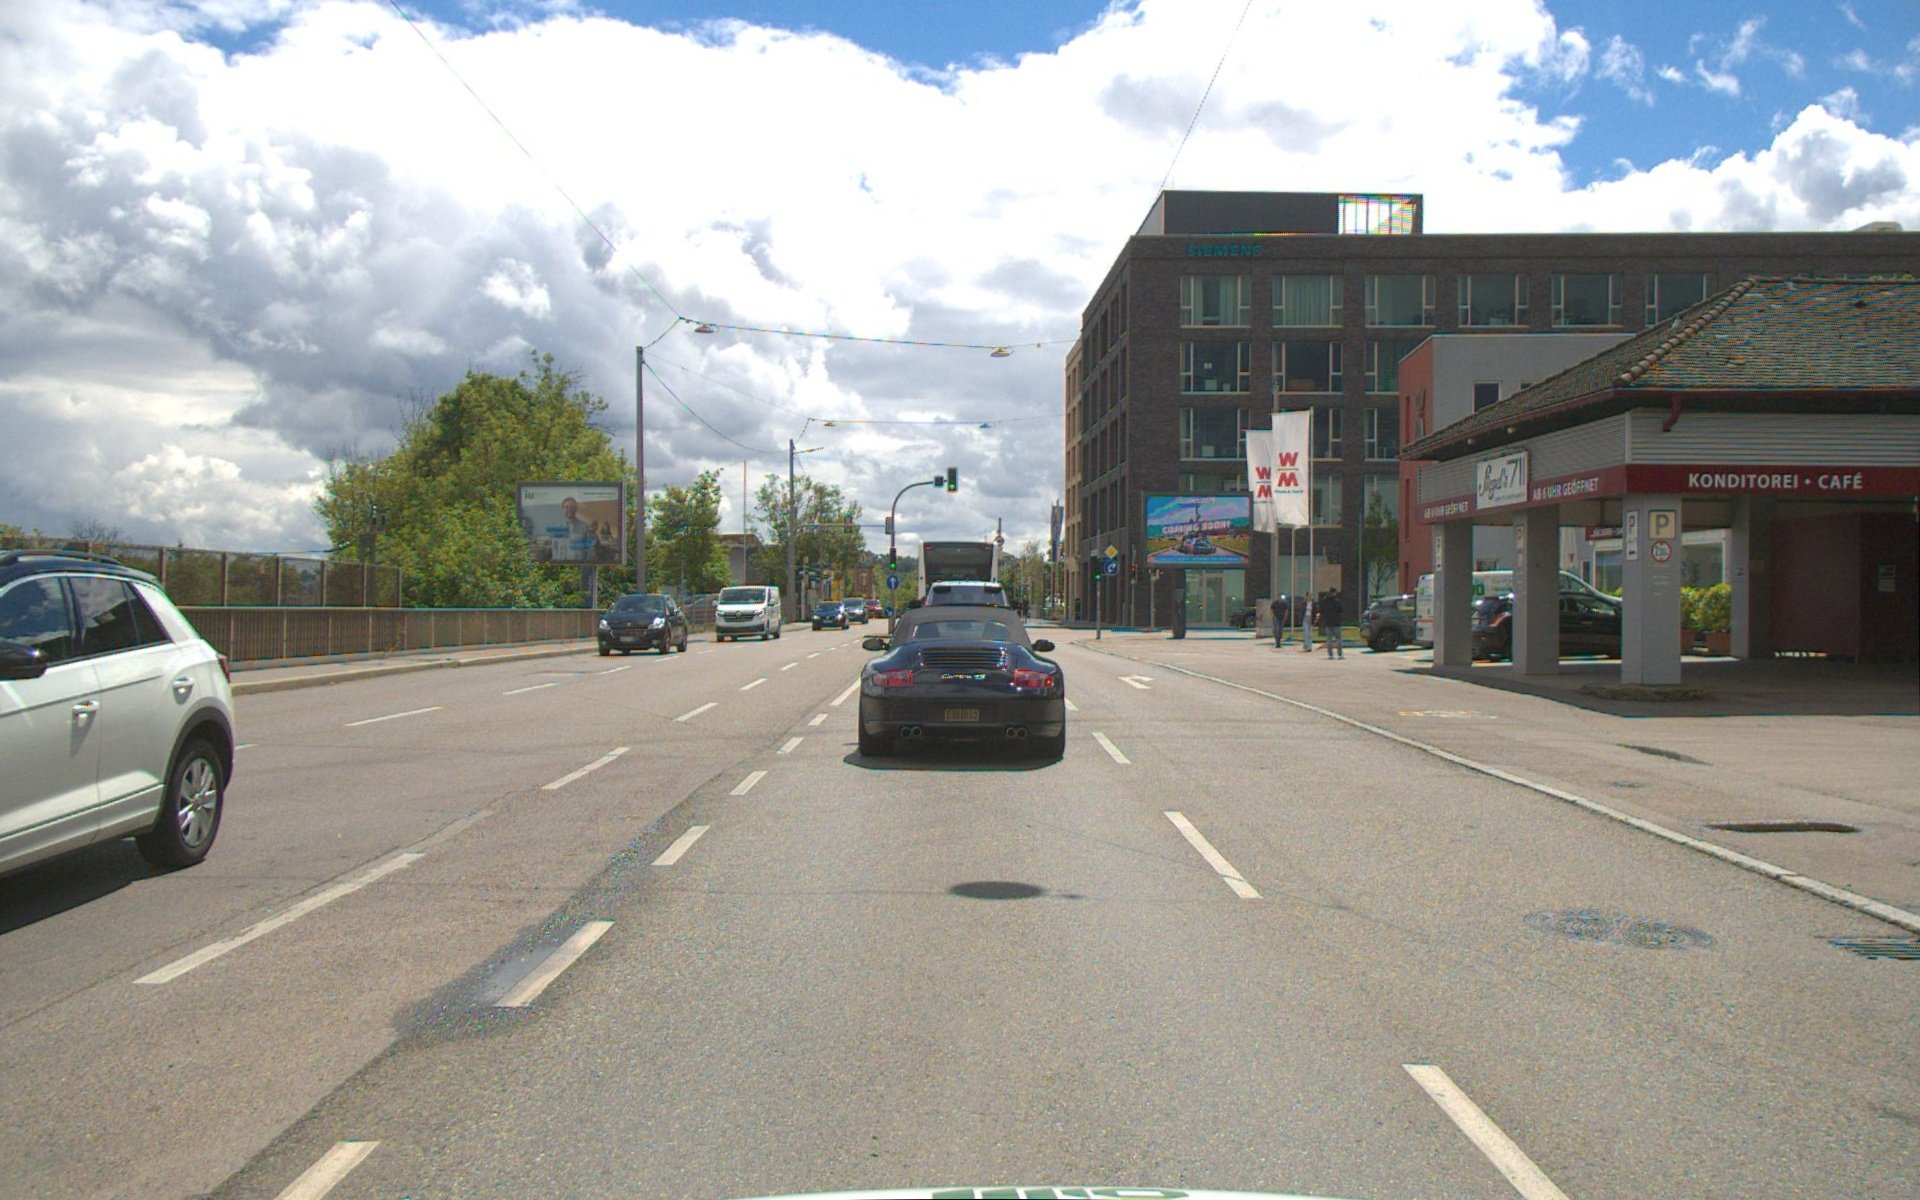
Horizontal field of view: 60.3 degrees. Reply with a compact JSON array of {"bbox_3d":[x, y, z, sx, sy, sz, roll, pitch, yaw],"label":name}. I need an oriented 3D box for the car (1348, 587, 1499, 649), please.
[{"bbox_3d":[12.918,0.501,46.253,3.682,1.465,1.719,-4,0,0],"label":"car"}]

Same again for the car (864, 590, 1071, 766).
[{"bbox_3d":[0.041,0.635,15.684,1.685,1.297,4.088,1,2,-1],"label":"car"}]

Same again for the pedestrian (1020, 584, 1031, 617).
[{"bbox_3d":[4.224,0.036,105.993,0.653,2.049,0.769,0,0,-2],"label":"pedestrian"}]

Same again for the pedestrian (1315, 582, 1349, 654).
[{"bbox_3d":[9.000,0.437,40.009,0.666,1.726,0.598,0,0,25],"label":"pedestrian"}]

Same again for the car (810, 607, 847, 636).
[{"bbox_3d":[-6.762,1.089,85.506,1.628,1.440,3.802,0,0,0],"label":"car"}]

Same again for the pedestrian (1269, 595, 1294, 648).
[{"bbox_3d":[10.345,0.675,53.212,0.657,1.690,0.742,0,0,-2],"label":"pedestrian"}]

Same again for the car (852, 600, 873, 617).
[{"bbox_3d":[-8.292,0.718,140.893,1.628,1.440,3.802,0,0,0],"label":"car"}]

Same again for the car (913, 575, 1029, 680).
[{"bbox_3d":[0.126,0.428,29.773,1.842,1.621,4.228,2,2,-2],"label":"car"}]

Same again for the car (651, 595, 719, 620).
[{"bbox_3d":[-14.190,0.402,85.500,3.448,1.286,1.387,0,0,-10],"label":"car"}]

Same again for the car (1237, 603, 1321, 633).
[{"bbox_3d":[15.636,0.899,81.241,3.849,1.456,1.473,0,0,-1],"label":"car"}]

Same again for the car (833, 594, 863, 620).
[{"bbox_3d":[-7.094,0.454,104.805,1.628,1.574,3.802,0,0,0],"label":"car"}]

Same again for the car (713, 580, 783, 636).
[{"bbox_3d":[-7.681,0.285,60.319,1.863,1.920,5.312,-2,0,-1],"label":"car"}]

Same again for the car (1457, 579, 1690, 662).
[{"bbox_3d":[12.961,0.438,35.131,4.212,1.539,1.846,-2,-1,0],"label":"car"}]

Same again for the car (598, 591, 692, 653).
[{"bbox_3d":[-7.759,0.532,41.058,1.595,1.455,3.999,0,0,-1],"label":"car"}]

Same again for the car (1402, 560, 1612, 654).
[{"bbox_3d":[12.583,0.165,38.242,4.144,1.970,2.029,-2,0,0],"label":"car"}]

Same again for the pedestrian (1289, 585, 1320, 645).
[{"bbox_3d":[10.143,0.435,48.725,0.693,1.726,0.924,0,0,-4],"label":"pedestrian"}]

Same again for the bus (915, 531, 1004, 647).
[{"bbox_3d":[0.013,-0.572,56.897,2.634,3.311,12.062,2,3,0],"label":"bus"}]

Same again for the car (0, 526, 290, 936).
[{"bbox_3d":[-4.612,0.493,7.147,1.773,1.587,4.206,1,0,-1],"label":"car"}]
